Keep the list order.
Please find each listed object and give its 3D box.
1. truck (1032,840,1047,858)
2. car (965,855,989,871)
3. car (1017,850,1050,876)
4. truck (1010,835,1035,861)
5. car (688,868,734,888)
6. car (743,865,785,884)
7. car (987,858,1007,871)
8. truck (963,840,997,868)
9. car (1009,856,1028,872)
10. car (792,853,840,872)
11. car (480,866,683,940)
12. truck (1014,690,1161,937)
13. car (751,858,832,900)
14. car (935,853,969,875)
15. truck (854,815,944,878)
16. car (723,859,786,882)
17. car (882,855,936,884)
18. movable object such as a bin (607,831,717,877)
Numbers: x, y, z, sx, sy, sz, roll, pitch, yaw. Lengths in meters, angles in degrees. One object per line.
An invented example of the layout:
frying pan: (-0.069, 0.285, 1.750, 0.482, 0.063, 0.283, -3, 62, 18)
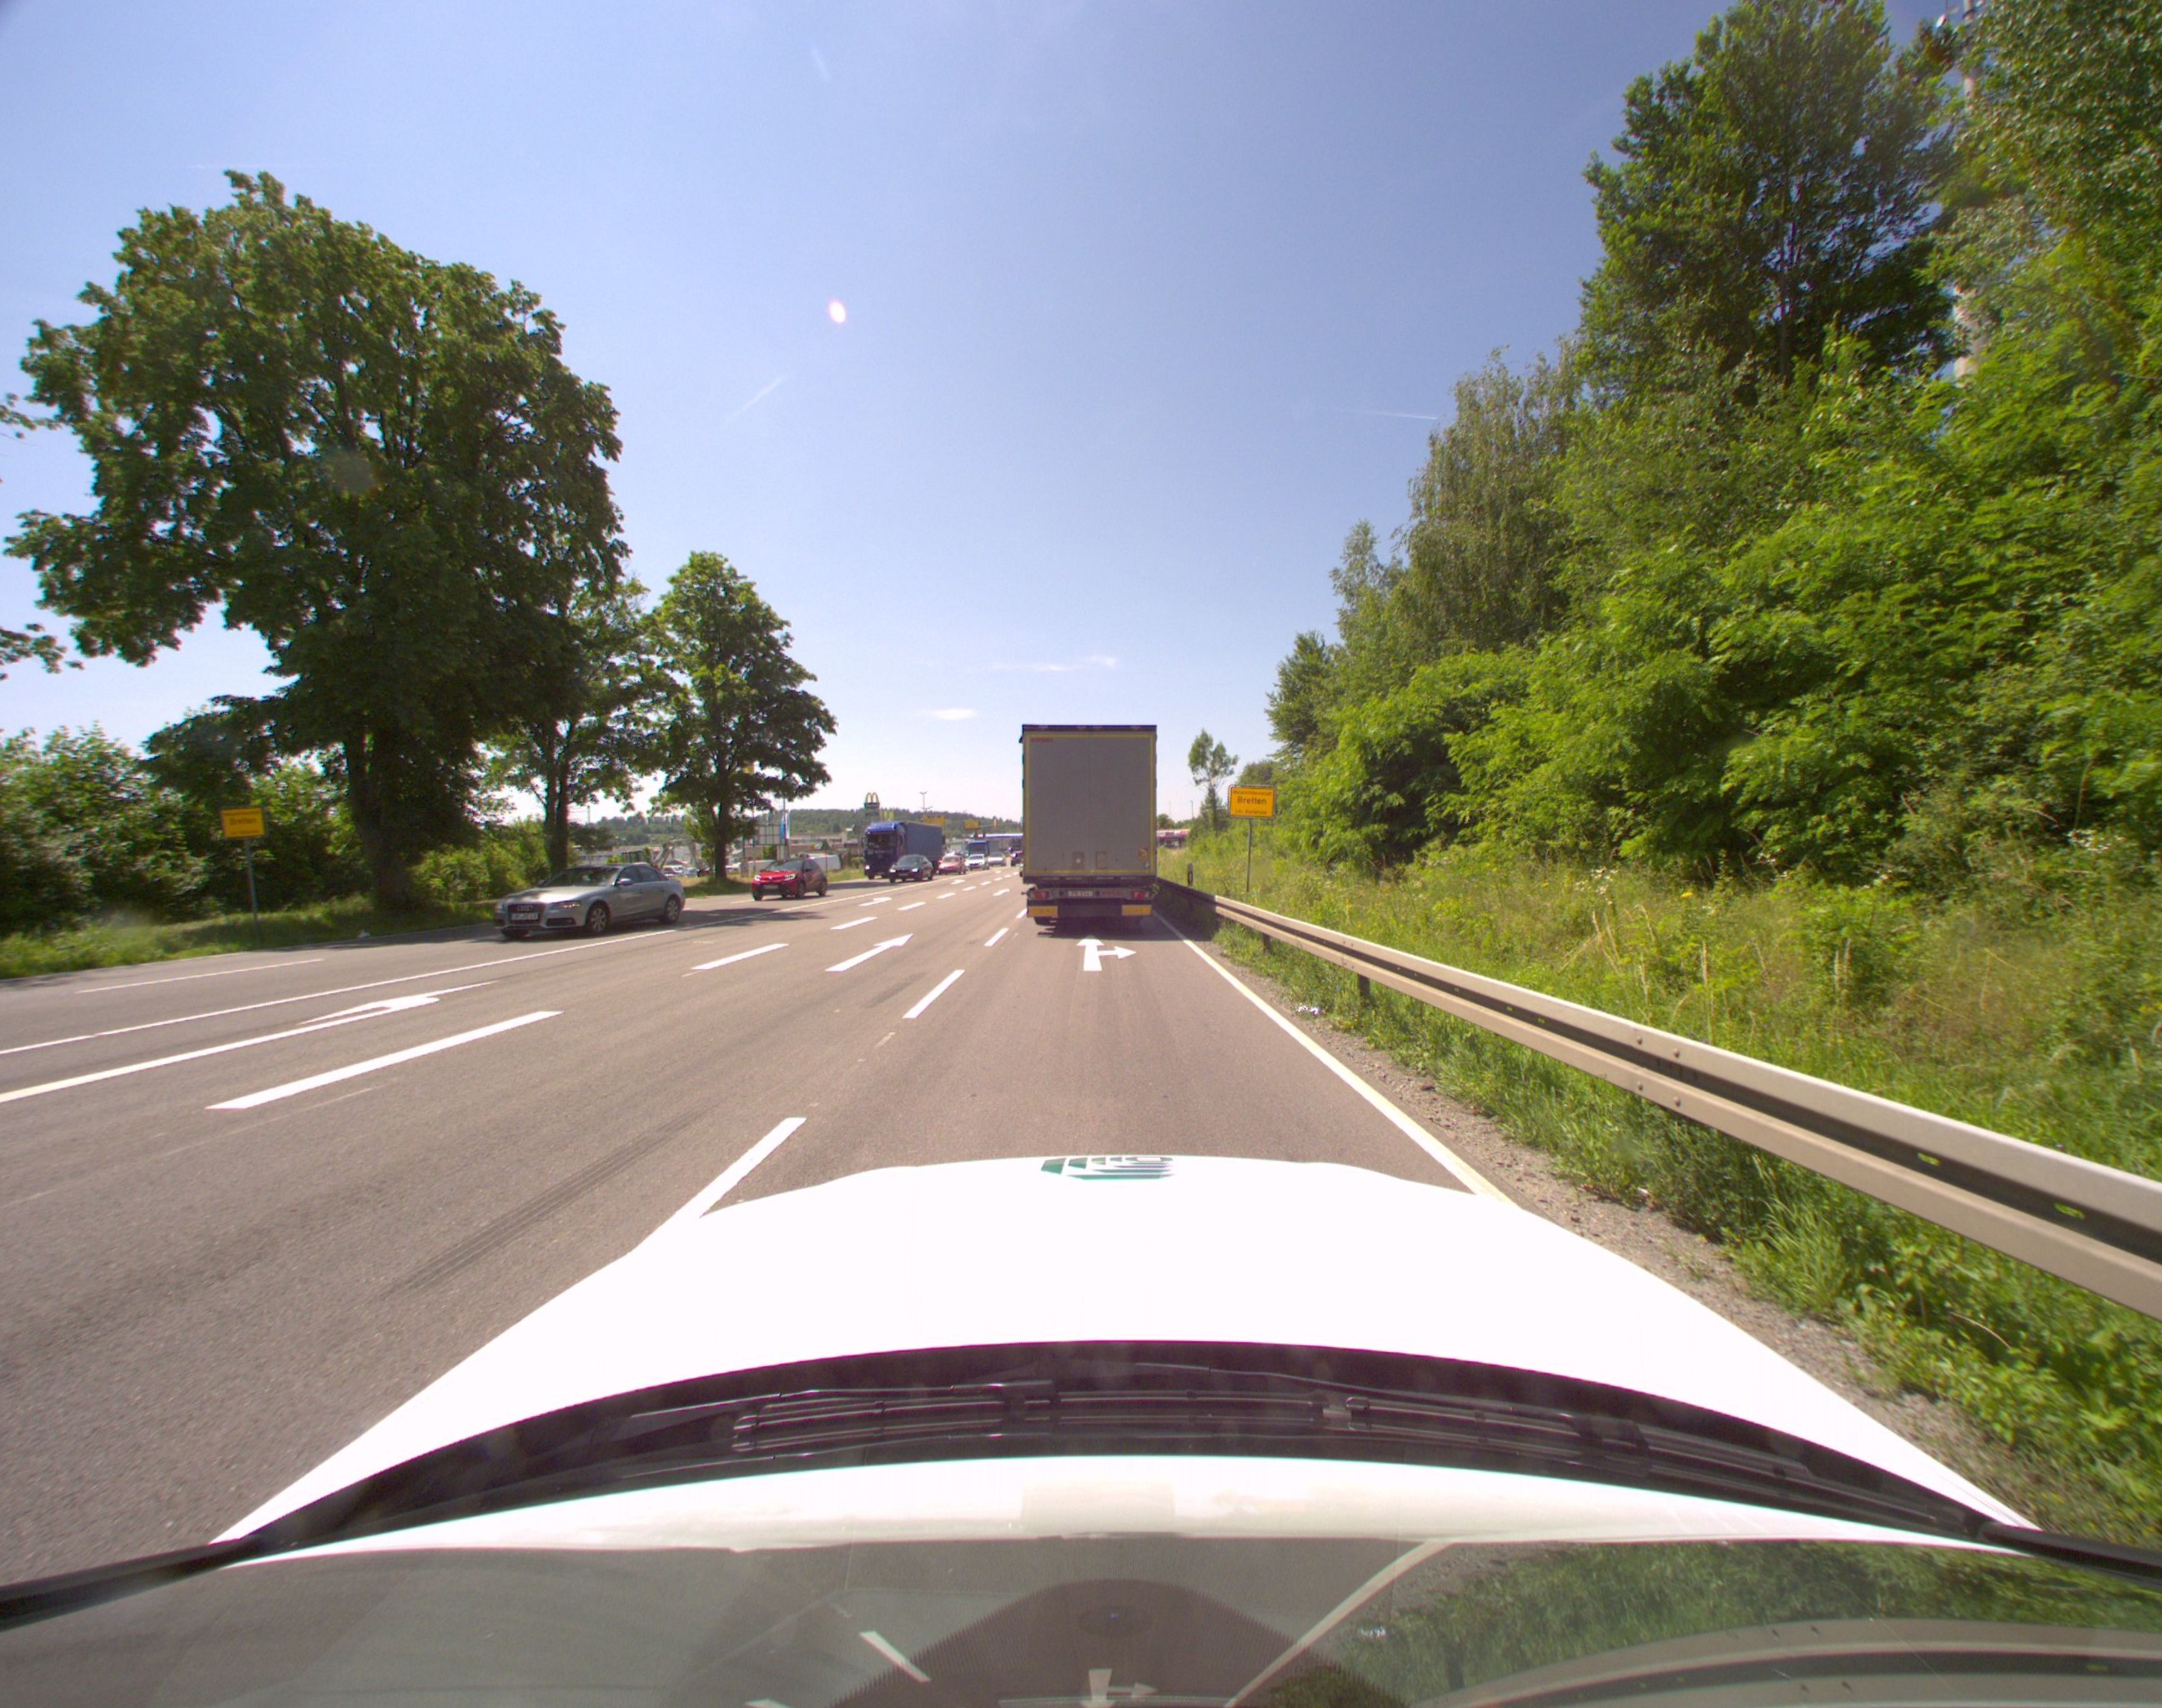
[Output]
truck: (-9.593, -1.206, 190.401, 2.926, 3.950, 14.231, -1, 0, -1)
car: (-9.547, 0.793, 74.912, 1.695, 1.415, 4.561, -1, 0, -1)
car: (-3.164, 0.566, 54.547, 1.798, 1.670, 4.294, 0, 0, 2)
truck: (-10.677, -1.044, 151.221, 3.135, 4.349, 17.542, -1, 0, 1)
car: (-31.713, 2.013, 69.745, 3.948, 1.651, 2.013, -1, 0, 38)
car: (-28.843, 1.875, 74.057, 3.948, 1.618, 1.852, -1, 0, 38)
car: (-9.571, 1.232, 92.675, 1.755, 1.428, 4.180, 0, -1, 1)
truck: (-12.934, 0.050, 105.229, 2.837, 3.351, 11.481, -1, 0, 0)
car: (-6.778, 1.039, 88.808, 1.788, 1.627, 4.367, -1, 0, -1)
car: (-31.660, 0.998, 97.313, 1.974, 2.183, 5.226, -1, 0, 38)
car: (-10.269, 0.940, 17.157, 1.761, 1.386, 3.999, 0, -1, 0)
truck: (0.080, -0.646, 23.617, 2.747, 4.639, 16.649, 0, -1, 0)
car: (-10.872, 0.882, 30.844, 1.636, 1.438, 4.015, -1, 0, -1)
car: (-9.623, 0.693, 60.857, 1.761, 1.445, 3.775, -5, 0, 0)
truck: (-13.736, -0.486, 63.481, 2.958, 4.176, 16.576, -2, 0, 1)
car: (-31.421, 1.537, 78.406, 5.249, 2.013, 1.976, -1, 0, -43)
car: (-9.855, 0.860, 46.988, 1.912, 1.480, 4.688, -3, -1, 1)
movable object such as a bin: (-31.988, -0.035, 62.400, 3.013, 3.298, 6.834, -1, 0, 41)
